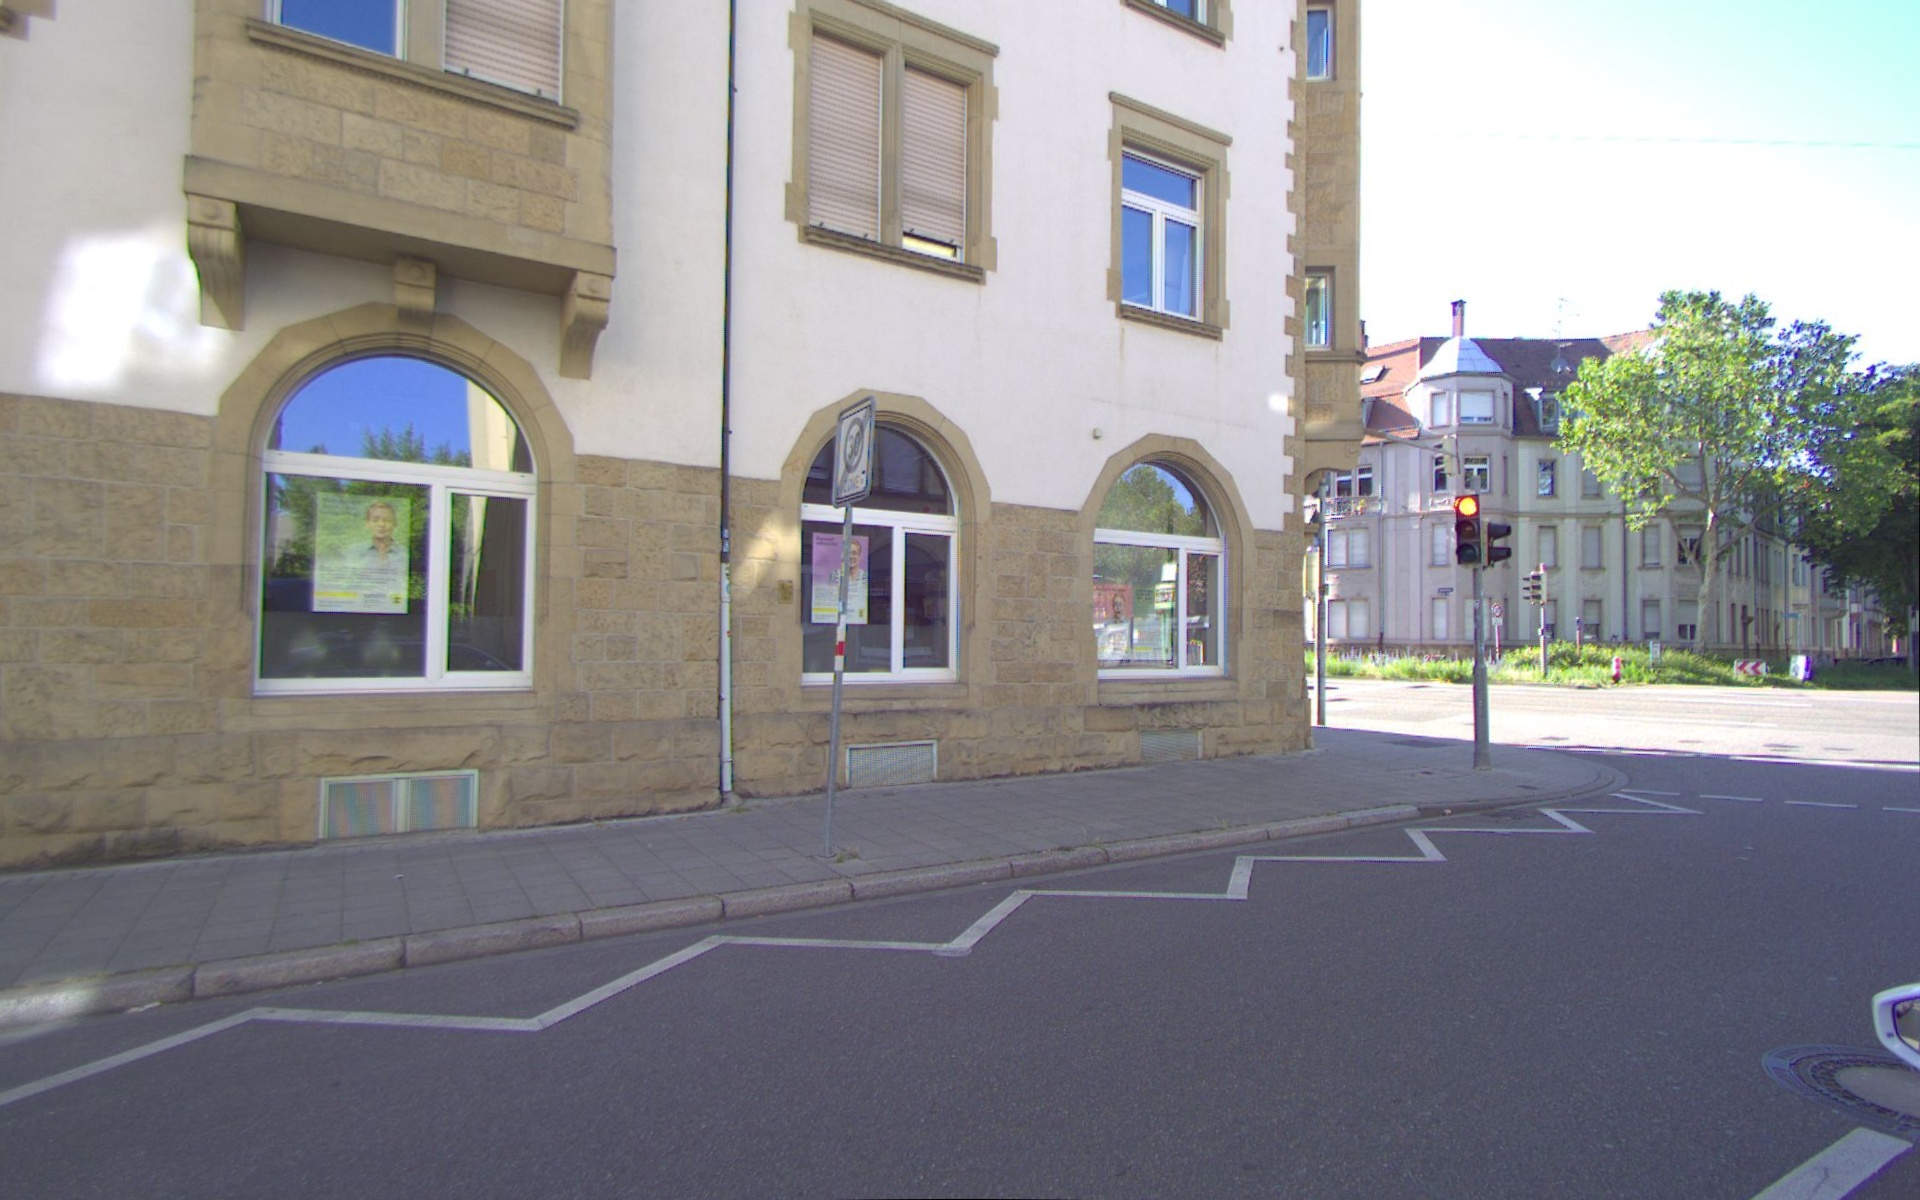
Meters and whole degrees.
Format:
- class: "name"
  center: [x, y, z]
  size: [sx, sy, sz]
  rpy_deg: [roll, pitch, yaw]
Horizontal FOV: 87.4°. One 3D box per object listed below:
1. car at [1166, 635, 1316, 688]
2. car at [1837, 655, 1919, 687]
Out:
- class: "car"
  center: [8.439, 1.811, 30.323]
  size: [3.944, 1.336, 1.812]
  rpy_deg: [2, -1, 43]
- class: "car"
  center: [46.097, 3.491, 49.789]
  size: [3.943, 1.505, 1.673]
  rpy_deg: [-2, -3, 42]
